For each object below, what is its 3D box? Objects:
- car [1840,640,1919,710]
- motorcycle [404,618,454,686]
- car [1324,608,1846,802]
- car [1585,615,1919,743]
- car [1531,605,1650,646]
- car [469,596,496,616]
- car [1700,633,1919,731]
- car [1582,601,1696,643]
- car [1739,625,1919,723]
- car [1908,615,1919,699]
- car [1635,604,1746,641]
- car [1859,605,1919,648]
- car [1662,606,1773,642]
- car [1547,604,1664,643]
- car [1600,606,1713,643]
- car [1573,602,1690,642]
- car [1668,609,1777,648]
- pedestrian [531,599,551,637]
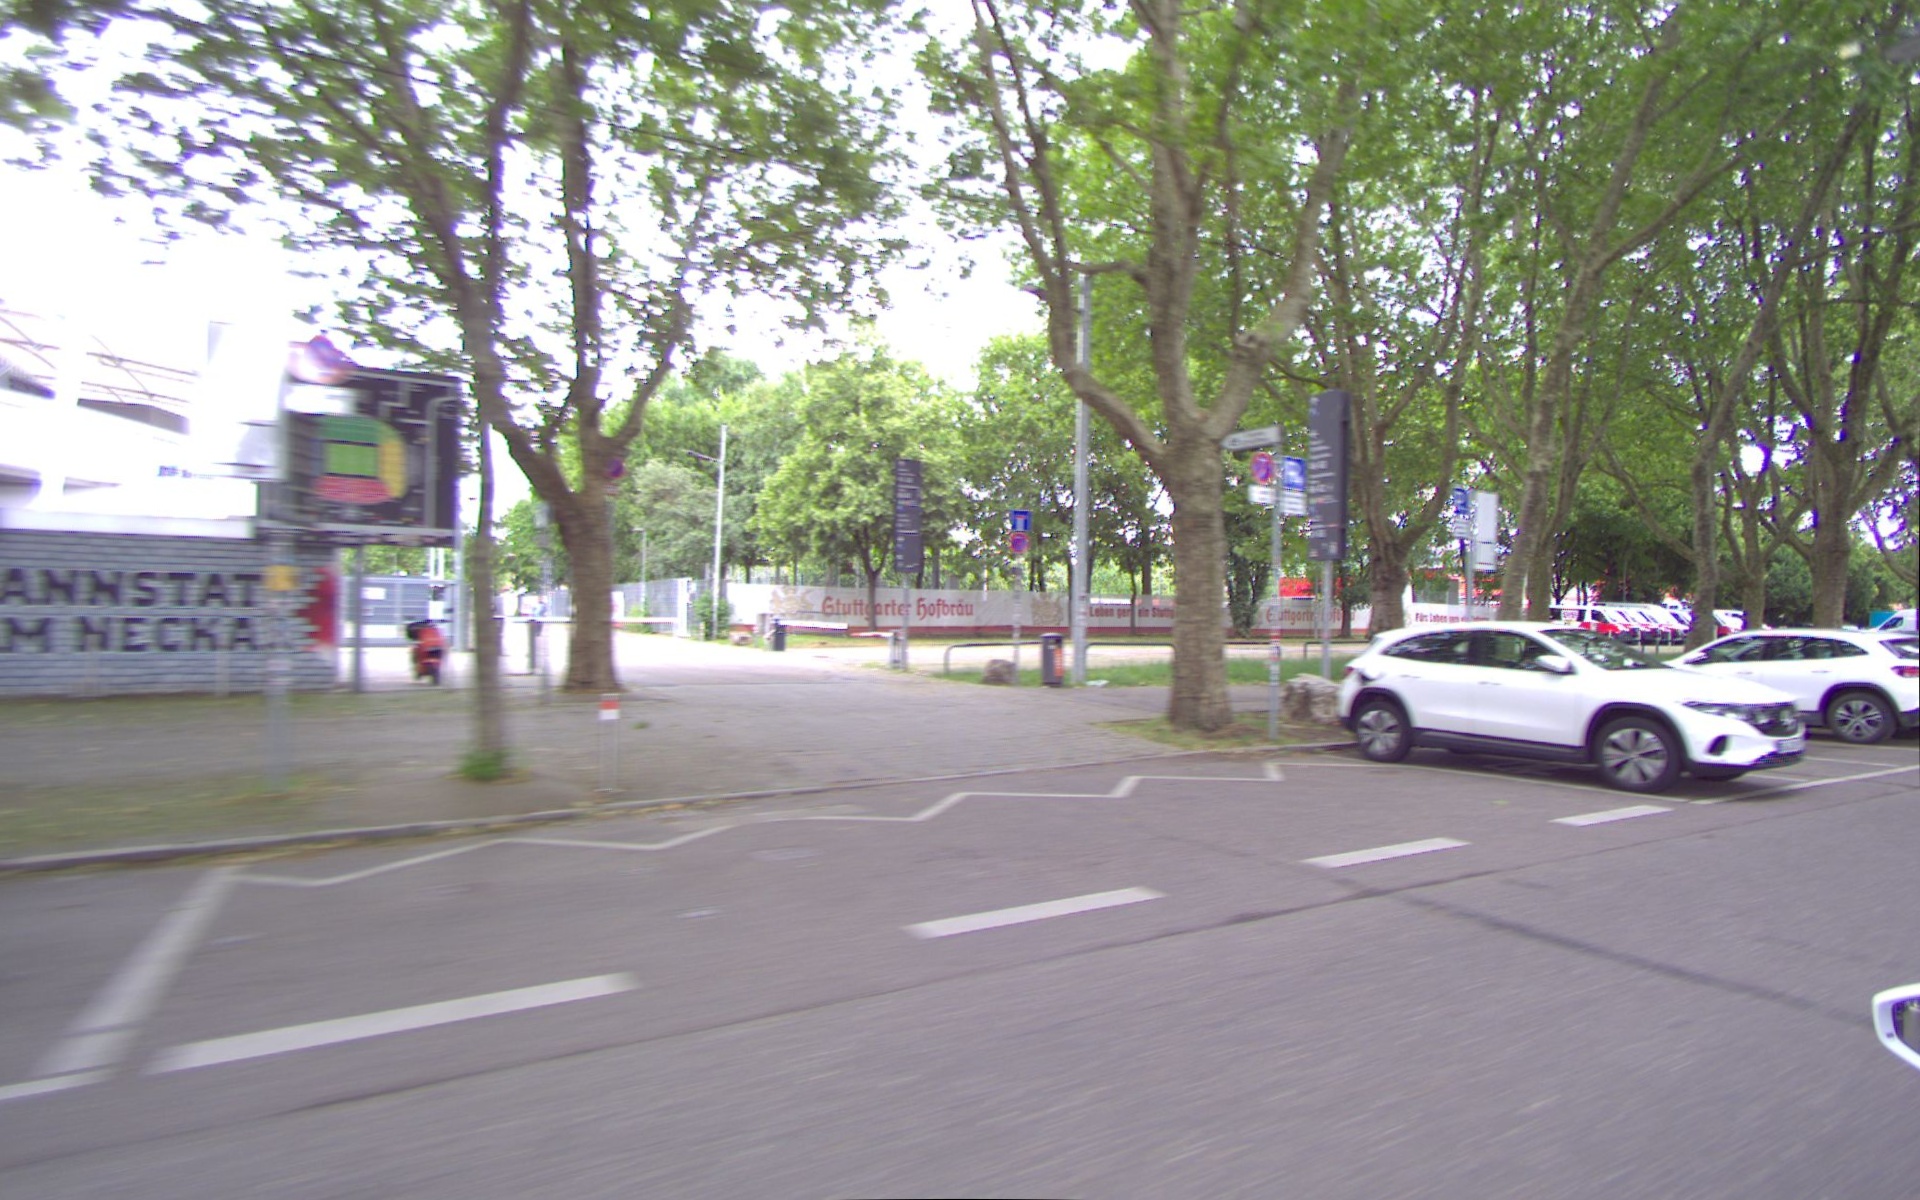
[{"bbox_3d":[20.782,1.522,20.454,1.664,1.431,3.966,1,-3,-32],"label":"car"},{"bbox_3d":[-9.488,0.902,17.978,0.730,1.157,1.650,1,-2,-27],"label":"motorcycle"},{"bbox_3d":[6.365,0.968,10.801,1.978,1.618,4.357,1,-2,-32],"label":"car"},{"bbox_3d":[12.509,1.158,15.603,1.978,1.689,4.318,1,-3,-32],"label":"car"},{"bbox_3d":[38.752,1.499,61.950,1.977,2.282,5.973,1,0,-30],"label":"car"},{"bbox_3d":[-50.916,0.643,107.017,2.168,1.926,4.656,0,-2,-31],"label":"car"},{"bbox_3d":[14.920,1.303,16.564,1.822,1.495,3.966,1,-3,-32],"label":"car"},{"bbox_3d":[44.884,1.443,66.607,1.977,2.560,5.973,1,0,-30],"label":"car"},{"bbox_3d":[17.133,1.320,18.211,1.978,1.689,4.318,1,-3,-32],"label":"car"},{"bbox_3d":[25.422,1.337,23.150,1.897,2.045,4.870,1,-2,-30],"label":"car"},{"bbox_3d":[50.970,1.538,70.210,1.977,2.361,5.973,1,0,-30],"label":"car"},{"bbox_3d":[60.488,1.692,63.024,1.976,2.632,5.760,1,0,-29],"label":"car"},{"bbox_3d":[53.334,1.642,70.881,1.977,2.336,5.973,1,0,-30],"label":"car"},{"bbox_3d":[40.692,1.444,63.481,1.977,2.282,5.973,1,0,-30],"label":"car"},{"bbox_3d":[46.853,1.596,67.708,1.977,2.270,5.973,1,0,-30],"label":"car"},{"bbox_3d":[43.049,1.391,64.596,1.977,2.349,5.973,1,0,-30],"label":"car"},{"bbox_3d":[54.983,2.037,72.596,1.977,2.560,5.973,1,0,-30],"label":"car"},{"bbox_3d":[-19.288,0.837,46.248,0.756,1.748,0.655,1,1,-31],"label":"pedestrian"}]
